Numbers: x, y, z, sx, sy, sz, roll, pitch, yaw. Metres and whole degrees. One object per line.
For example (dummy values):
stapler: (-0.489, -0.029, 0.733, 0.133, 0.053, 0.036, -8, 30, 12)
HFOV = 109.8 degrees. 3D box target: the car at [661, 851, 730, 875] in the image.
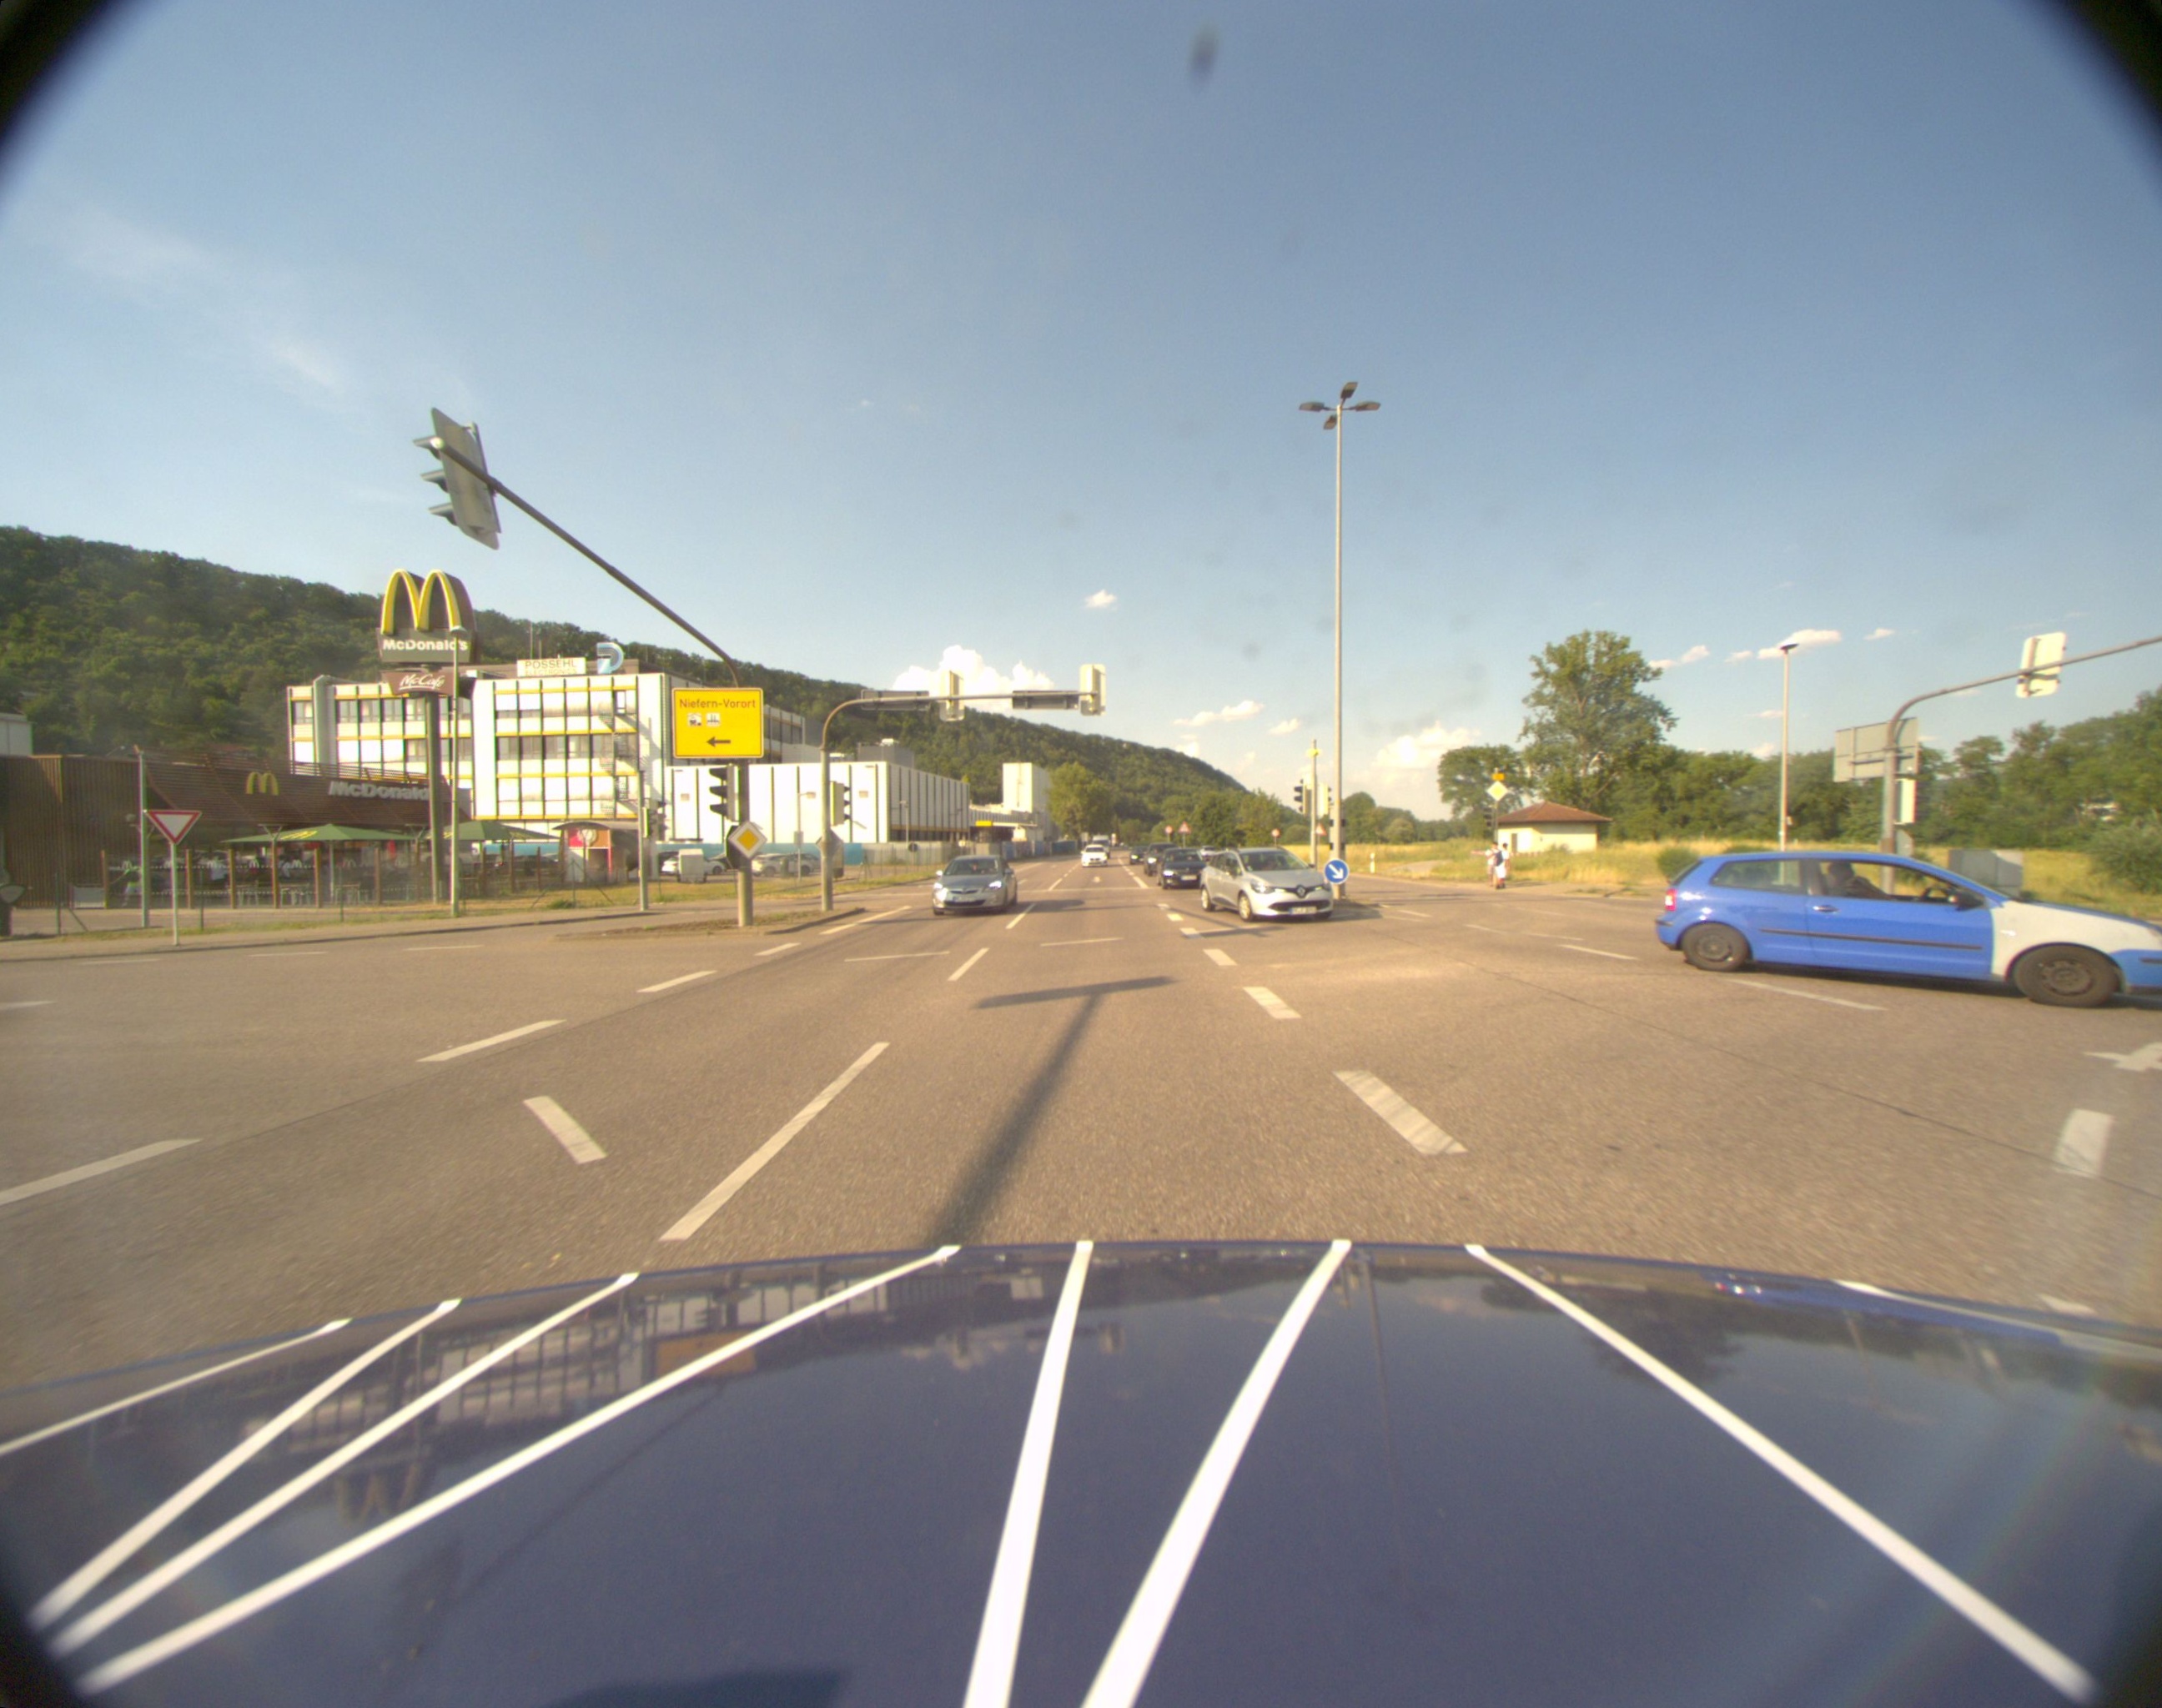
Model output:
car: (-26.364, 0.607, 52.094, 1.693, 1.447, 3.782, -1, 2, 33)

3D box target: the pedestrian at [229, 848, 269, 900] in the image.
pedestrian: (-32.879, 0.780, 30.041, 0.737, 2.002, 0.761, -3, 2, -29)

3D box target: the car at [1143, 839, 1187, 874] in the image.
car: (4.193, 0.071, 38.614, 1.858, 1.565, 4.144, -2, 1, 2)

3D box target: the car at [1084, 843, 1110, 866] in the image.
car: (1.192, 0.006, 56.242, 1.825, 1.552, 3.999, -2, 1, 2)

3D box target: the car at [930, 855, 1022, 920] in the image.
car: (-2.607, 0.787, 19.646, 1.690, 1.383, 3.883, -1, 2, 2)

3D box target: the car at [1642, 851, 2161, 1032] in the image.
car: (8.698, 0.734, 8.269, 1.696, 1.491, 3.881, -1, 2, -42)

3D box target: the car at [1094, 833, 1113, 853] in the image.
car: (2.484, -1.245, 84.808, 1.795, 2.155, 4.588, 0, 1, -1)

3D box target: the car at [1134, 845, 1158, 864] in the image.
car: (4.732, 0.007, 54.911, 1.642, 1.285, 3.884, 0, 2, 6)

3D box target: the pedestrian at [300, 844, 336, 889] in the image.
pedestrian: (-34.316, 0.557, 34.177, 0.735, 2.002, 0.763, -2, 2, 5)

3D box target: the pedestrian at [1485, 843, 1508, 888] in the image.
pedestrian: (15.415, 0.421, 28.206, 0.655, 1.597, 0.838, -1, 2, 22)

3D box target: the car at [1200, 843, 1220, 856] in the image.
car: (14.481, -0.517, 85.491, 1.712, 1.426, 4.144, 1, 2, 2)

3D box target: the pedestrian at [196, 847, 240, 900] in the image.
pedestrian: (-33.823, 0.745, 29.784, 0.736, 2.002, 0.762, -3, 2, -13)

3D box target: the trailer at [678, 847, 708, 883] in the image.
trailer: (-22.189, 0.603, 43.393, 1.351, 1.936, 3.472, 0, 0, -30)

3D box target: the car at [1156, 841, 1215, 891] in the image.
car: (3.636, 0.364, 27.069, 1.617, 1.565, 3.999, -2, 1, 2)

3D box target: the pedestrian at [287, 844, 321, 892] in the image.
pedestrian: (-33.803, 0.593, 33.073, 0.737, 2.002, 0.761, -3, 2, -29)

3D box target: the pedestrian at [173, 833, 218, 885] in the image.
pedestrian: (-35.001, 0.194, 30.044, 0.764, 2.002, 0.735, -3, 2, -15)

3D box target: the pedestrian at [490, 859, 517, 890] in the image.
pedestrian: (-26.237, 0.926, 34.516, 0.673, 1.329, 0.597, -2, 2, -3)

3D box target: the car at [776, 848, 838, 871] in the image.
car: (-20.252, 0.362, 56.331, 1.872, 1.496, 3.913, -1, 2, 35)

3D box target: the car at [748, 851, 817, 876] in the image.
car: (-20.320, 0.621, 51.844, 1.872, 1.496, 3.914, -1, 2, 37)

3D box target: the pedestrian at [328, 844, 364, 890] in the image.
pedestrian: (-33.133, 0.588, 34.274, 0.735, 2.002, 0.763, -2, 2, 5)

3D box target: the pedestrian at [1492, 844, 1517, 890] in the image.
pedestrian: (15.131, 0.452, 27.169, 0.655, 1.597, 0.891, -1, 2, 22)

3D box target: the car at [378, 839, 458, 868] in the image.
car: (-46.179, -0.054, 52.970, 1.814, 1.767, 3.768, -1, 2, 33)

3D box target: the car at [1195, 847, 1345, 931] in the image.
car: (3.795, 0.619, 16.064, 1.762, 1.468, 4.187, -2, 1, -6)
